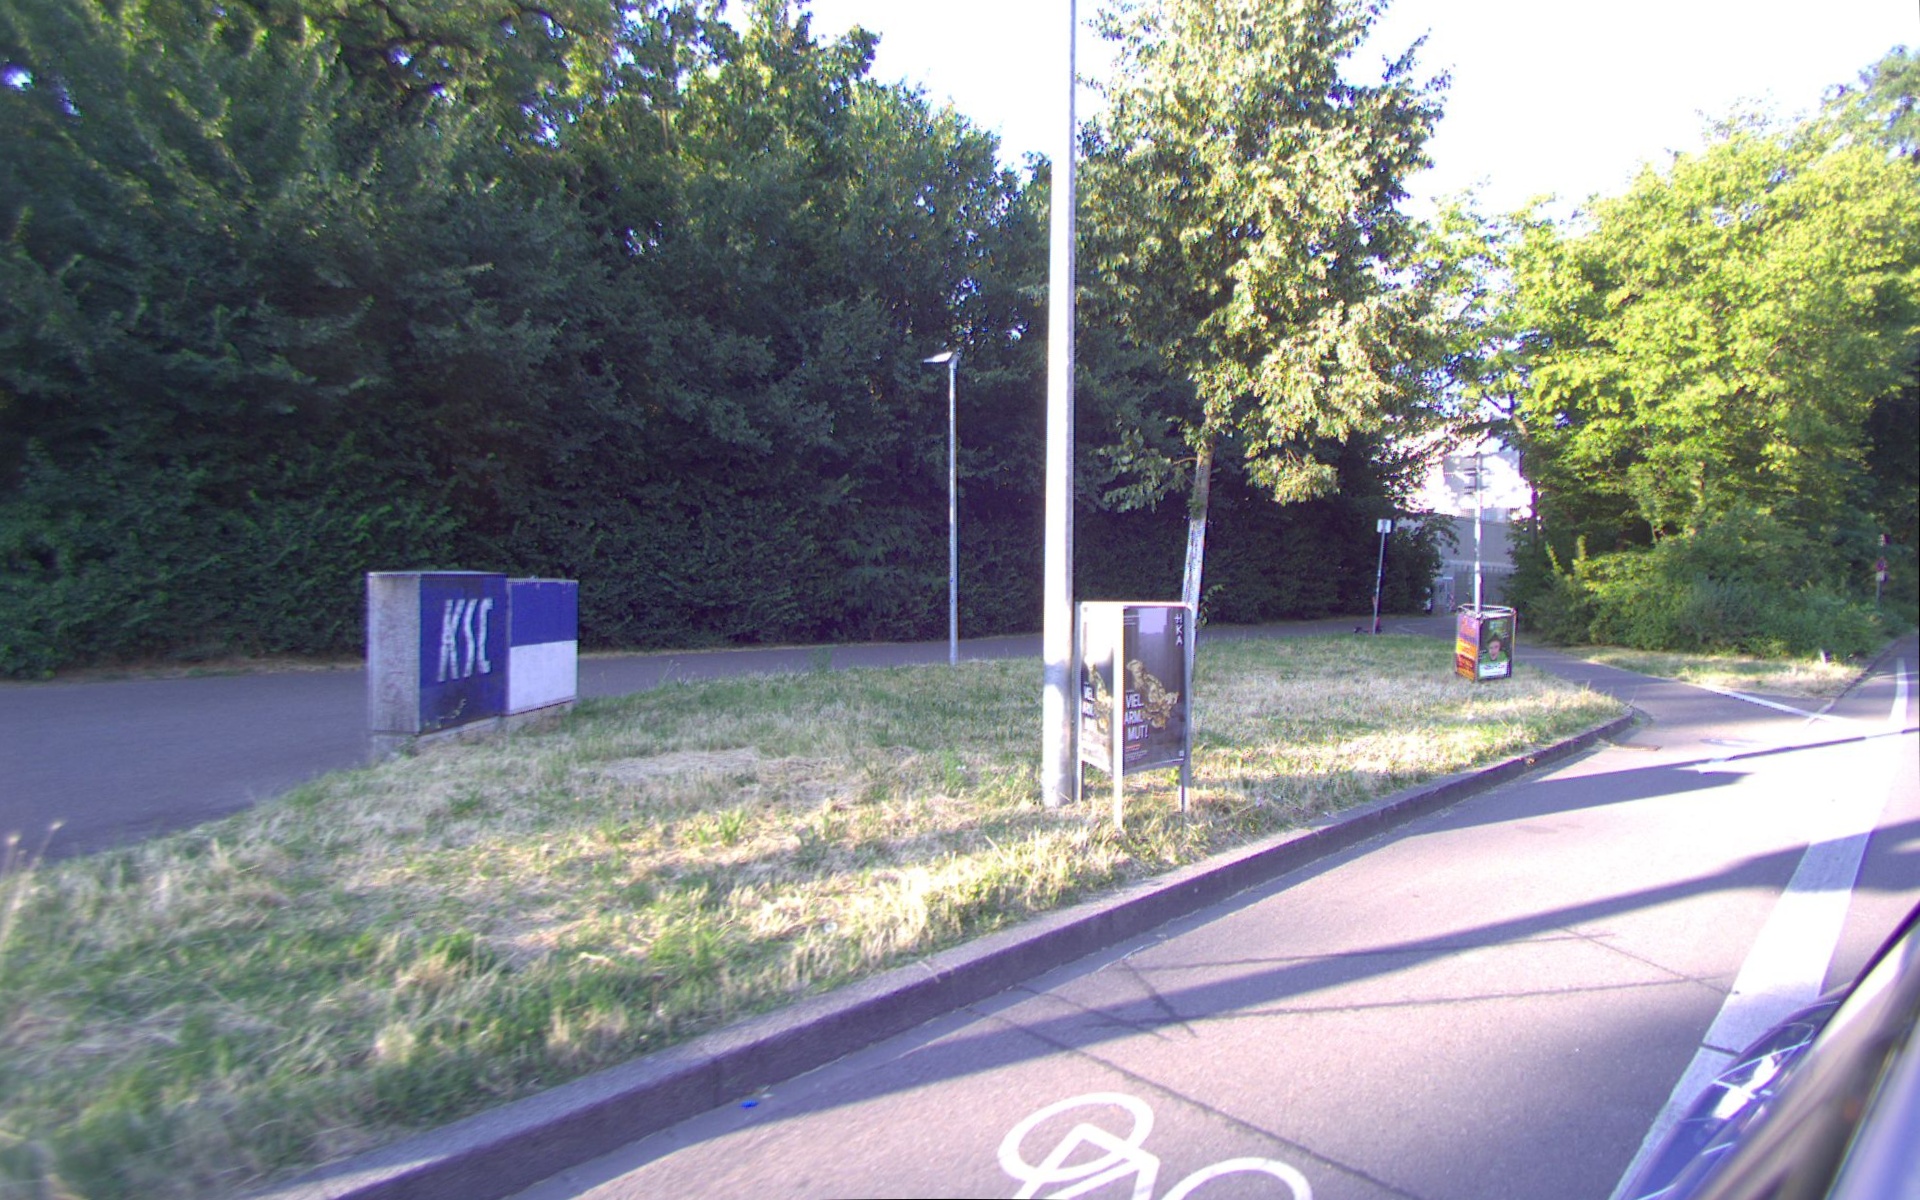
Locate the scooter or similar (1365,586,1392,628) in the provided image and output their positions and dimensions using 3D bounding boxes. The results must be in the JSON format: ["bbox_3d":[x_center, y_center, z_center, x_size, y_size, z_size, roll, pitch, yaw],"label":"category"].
[{"bbox_3d":[11.067,0.182,26.749,0.820,1.100,0.194,0,-1,-30],"label":"scooter or similar"}]
